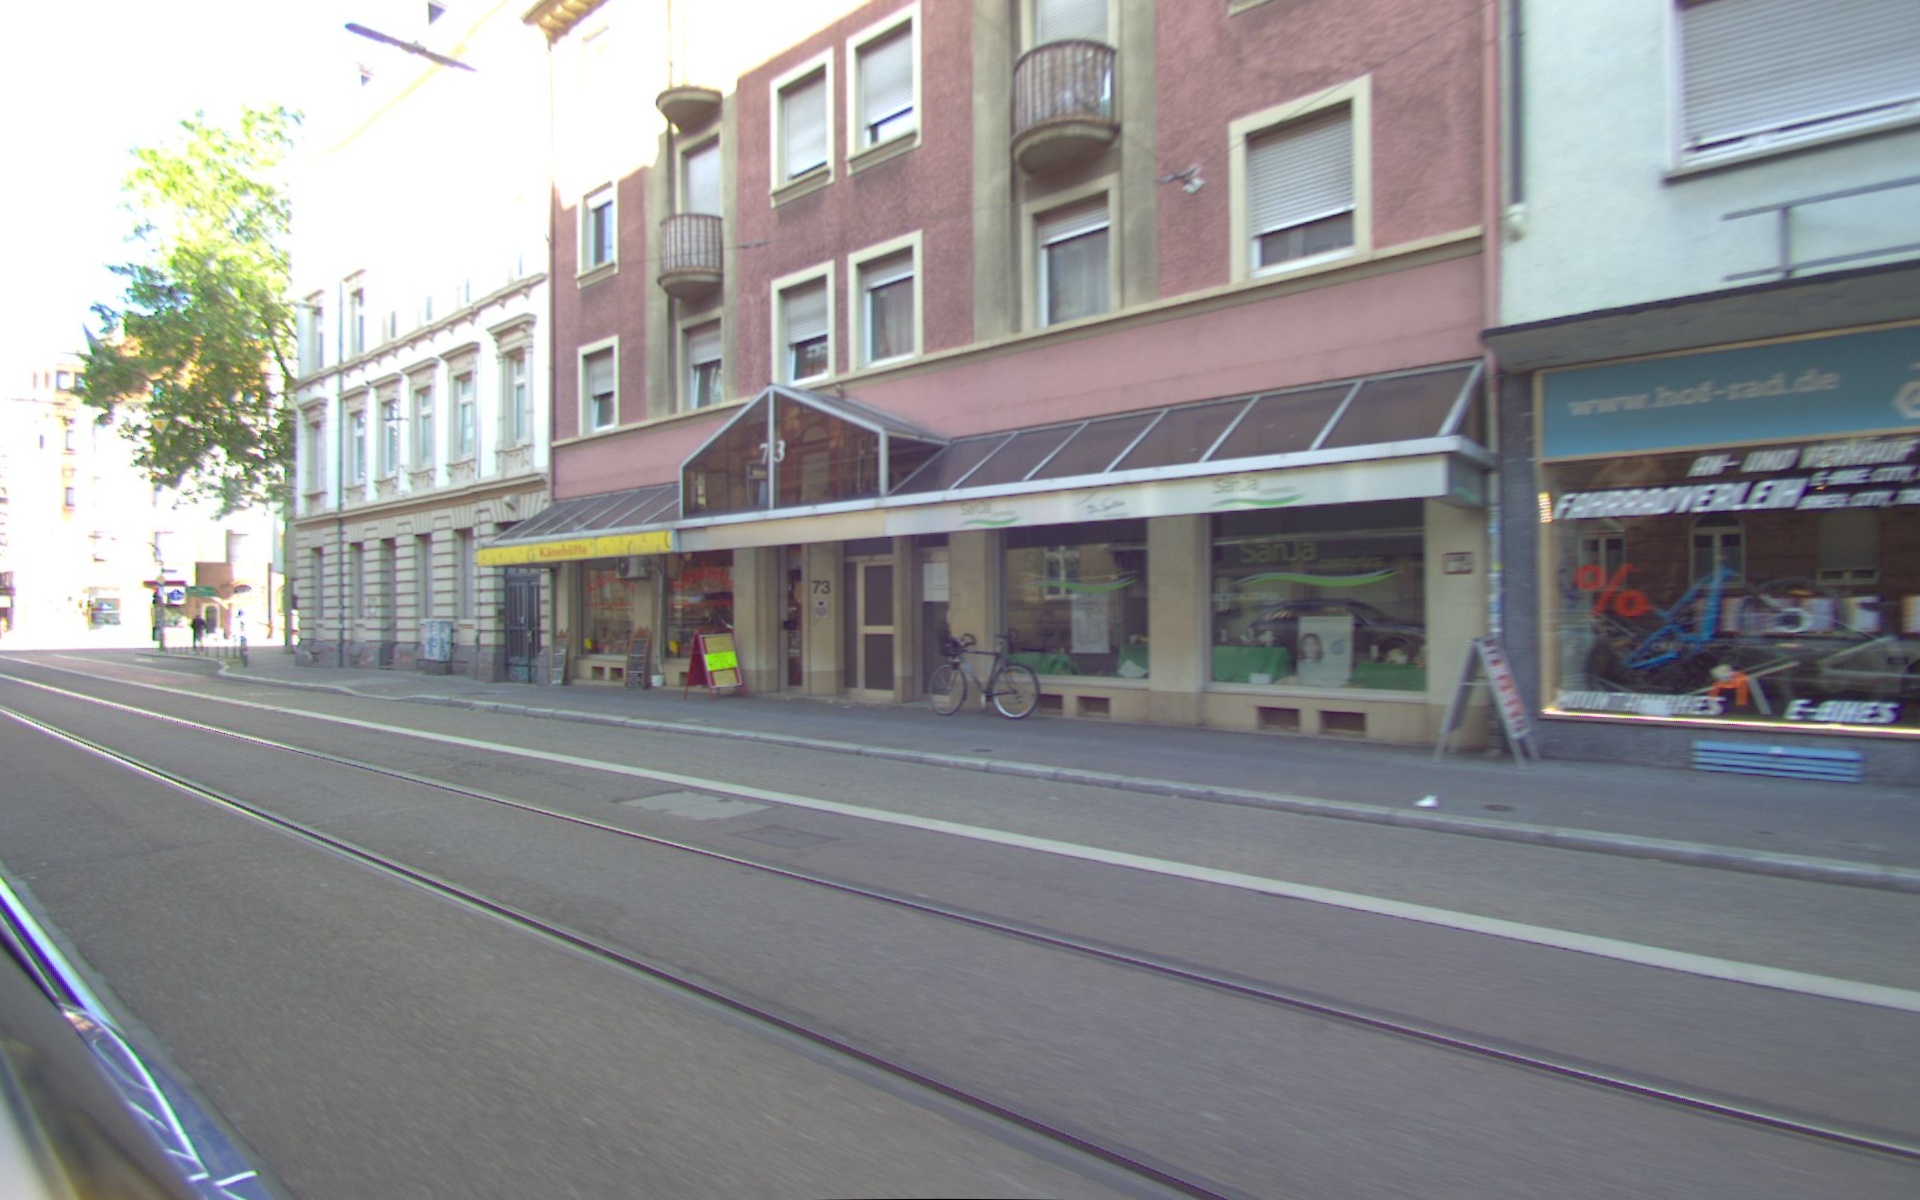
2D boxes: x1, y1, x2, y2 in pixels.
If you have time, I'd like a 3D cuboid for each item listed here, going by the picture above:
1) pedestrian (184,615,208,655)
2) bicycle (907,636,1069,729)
[{"bbox_3d":[-36.658,1.672,48.571,0.809,1.861,0.784,-1,0,43],"label":"pedestrian"},{"bbox_3d":[0.310,1.014,12.982,2.328,1.068,0.420,-1,0,41],"label":"bicycle"}]
